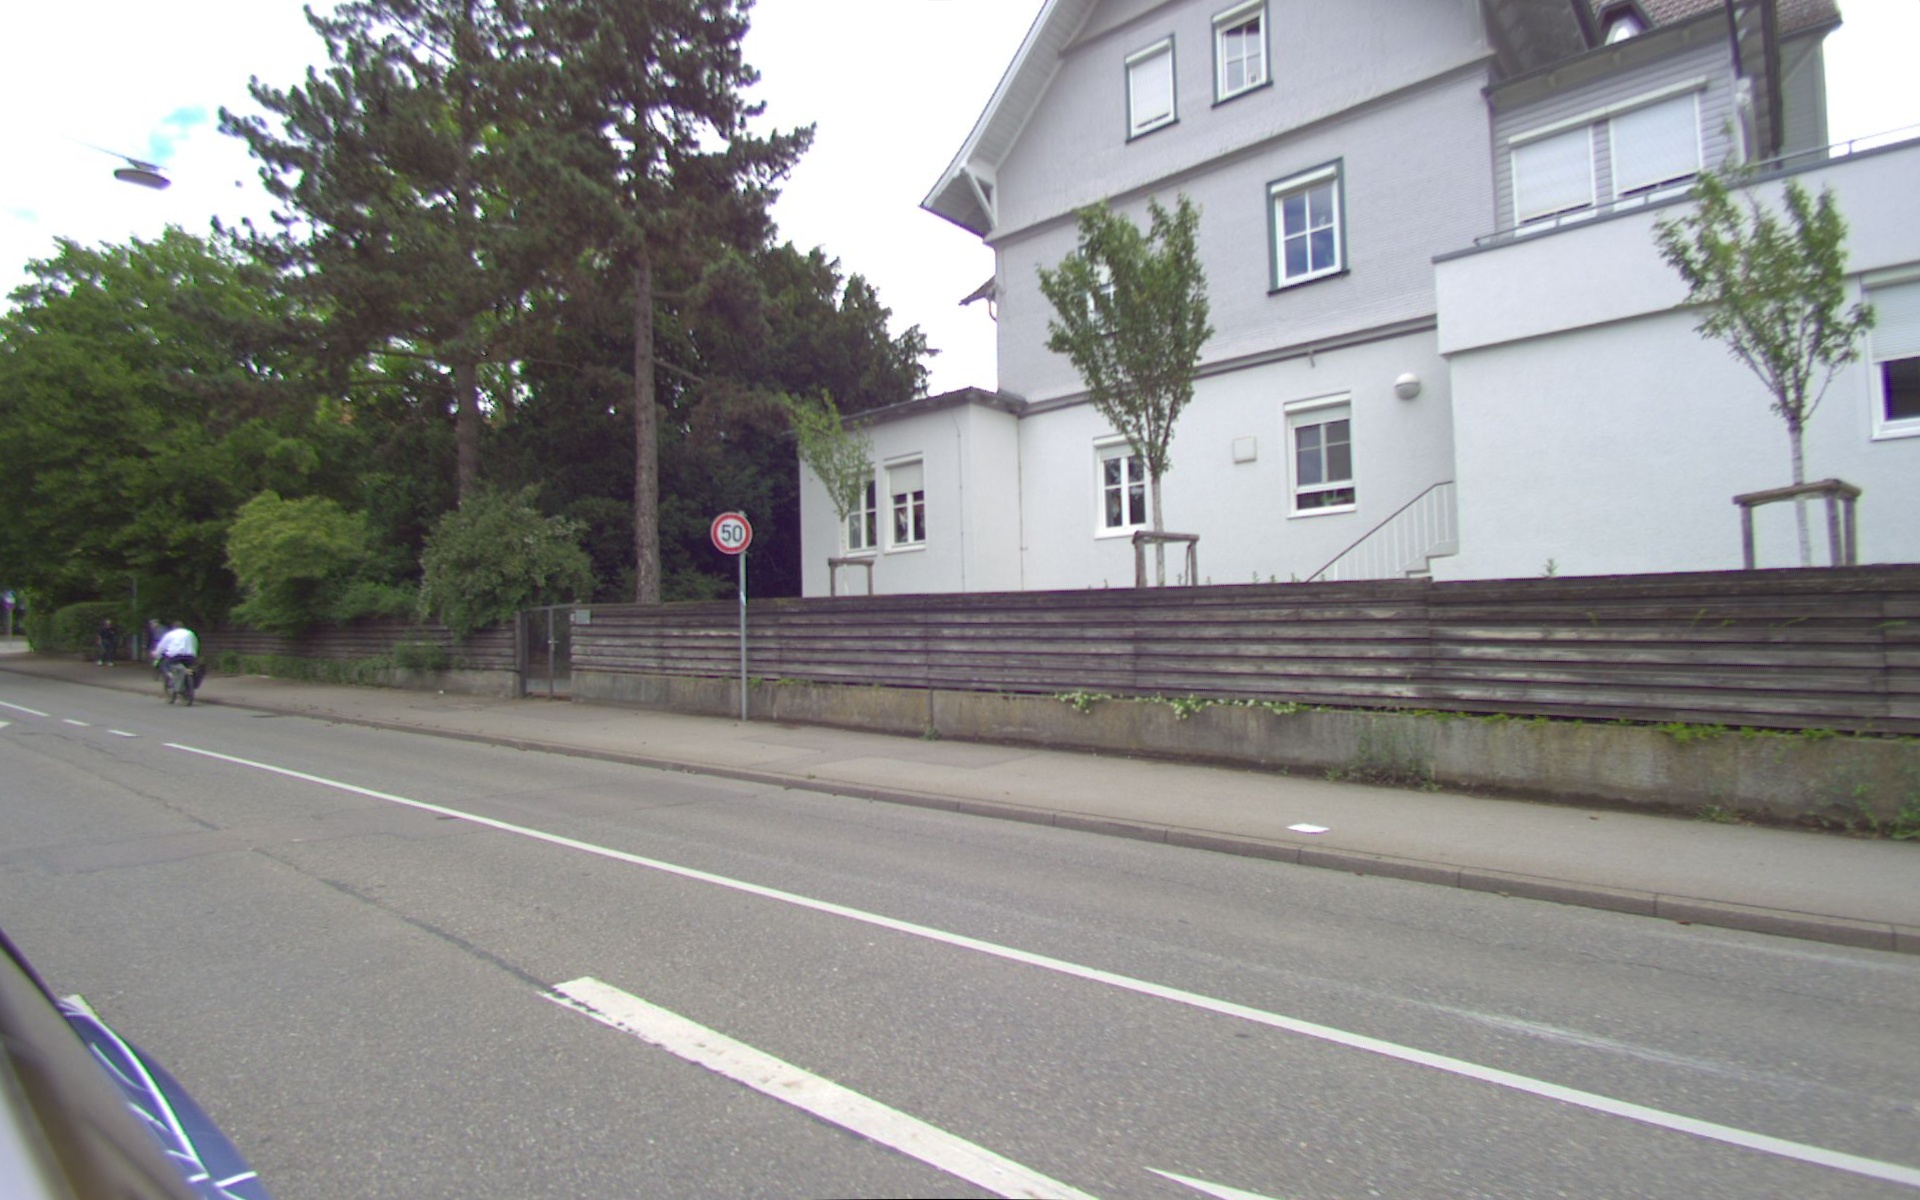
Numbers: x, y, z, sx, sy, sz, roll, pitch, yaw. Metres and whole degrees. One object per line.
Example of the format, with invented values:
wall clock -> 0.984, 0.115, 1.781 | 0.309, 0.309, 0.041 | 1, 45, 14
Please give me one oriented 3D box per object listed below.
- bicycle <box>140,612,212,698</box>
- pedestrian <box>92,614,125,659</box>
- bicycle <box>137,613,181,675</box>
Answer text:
bicycle -> -16.697, 1.155, 21.552 | 1.869, 1.758, 0.751 | -2, -4, 40
pedestrian -> -32.011, 1.356, 38.037 | 0.915, 1.674, 0.625 | 0, -2, 27
bicycle -> -22.527, 1.214, 28.433 | 1.979, 1.689, 0.556 | -2, -2, 40
